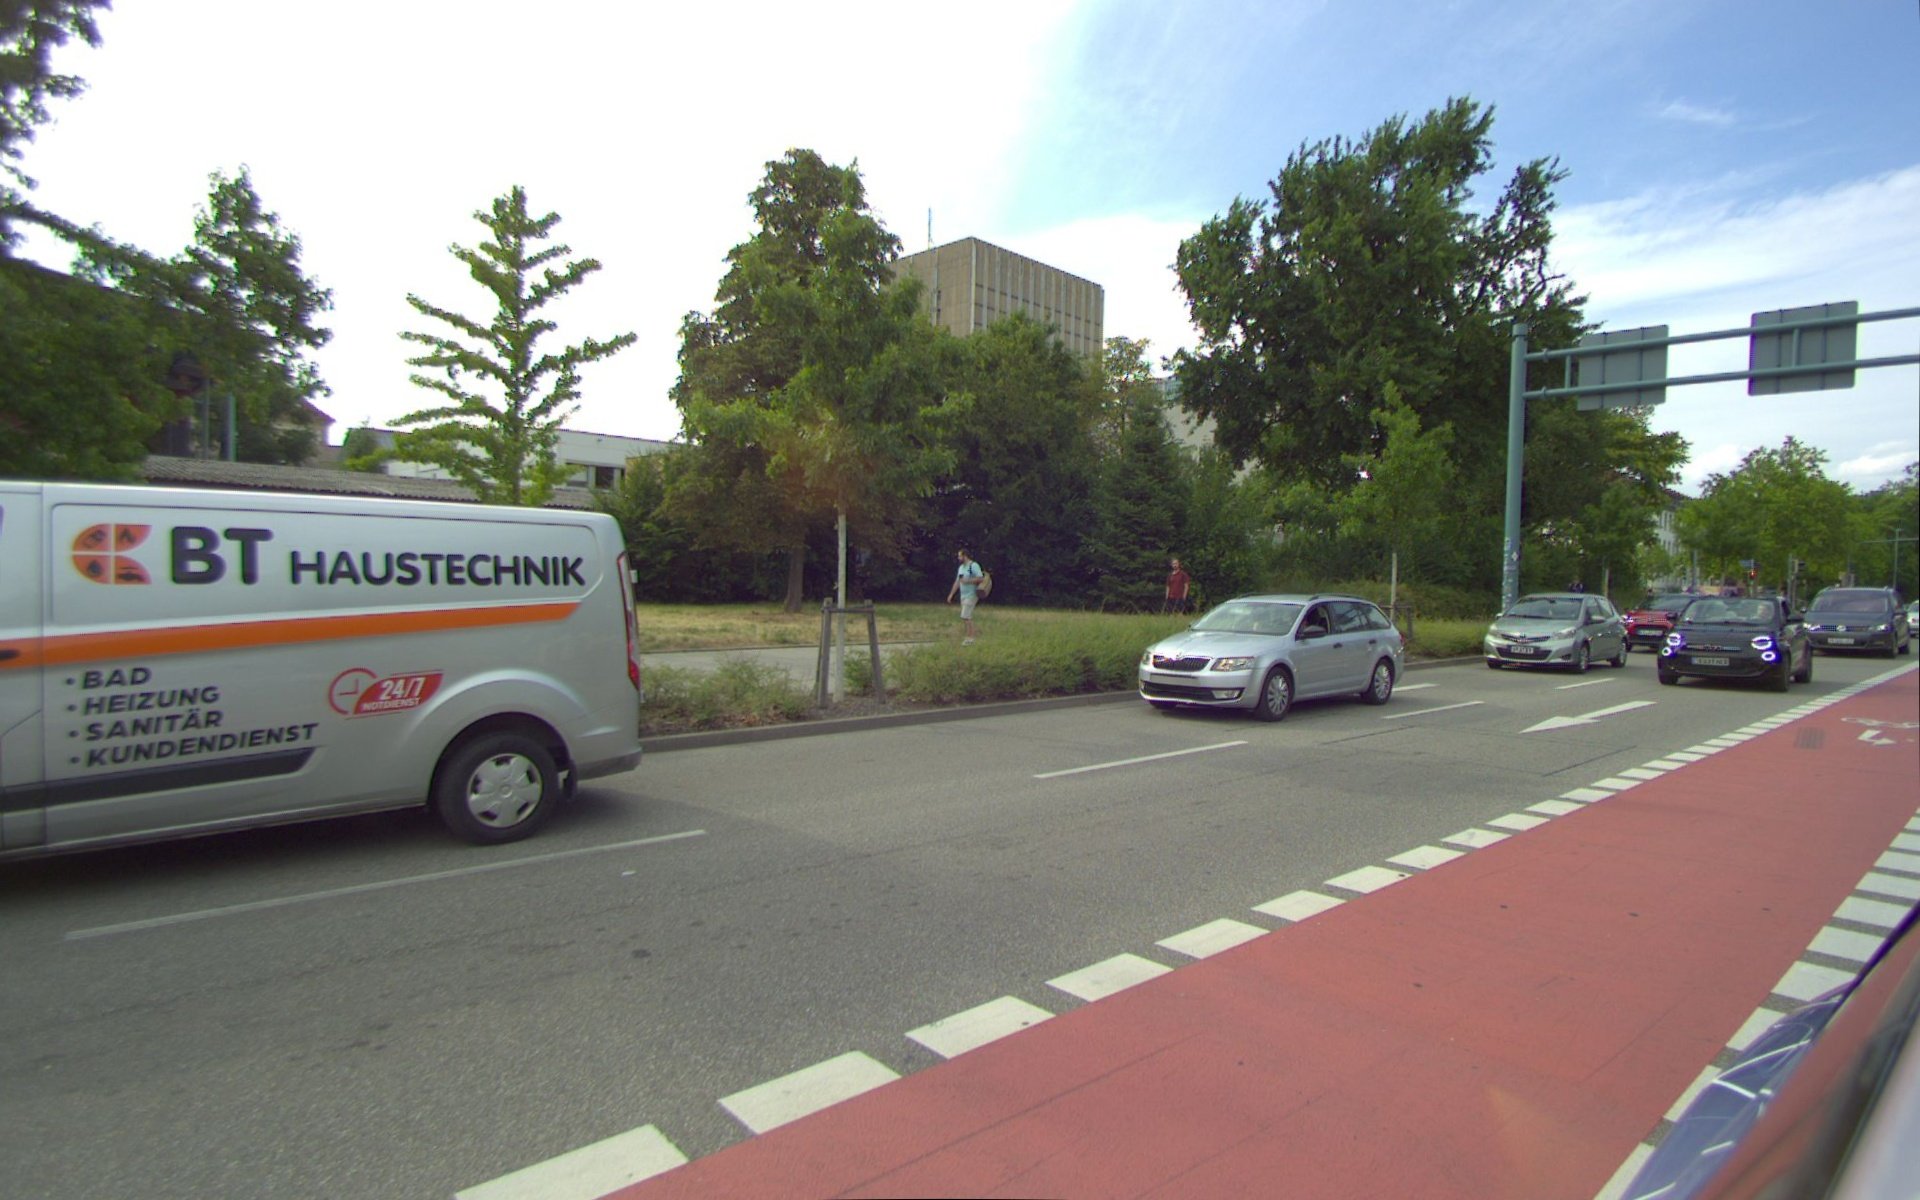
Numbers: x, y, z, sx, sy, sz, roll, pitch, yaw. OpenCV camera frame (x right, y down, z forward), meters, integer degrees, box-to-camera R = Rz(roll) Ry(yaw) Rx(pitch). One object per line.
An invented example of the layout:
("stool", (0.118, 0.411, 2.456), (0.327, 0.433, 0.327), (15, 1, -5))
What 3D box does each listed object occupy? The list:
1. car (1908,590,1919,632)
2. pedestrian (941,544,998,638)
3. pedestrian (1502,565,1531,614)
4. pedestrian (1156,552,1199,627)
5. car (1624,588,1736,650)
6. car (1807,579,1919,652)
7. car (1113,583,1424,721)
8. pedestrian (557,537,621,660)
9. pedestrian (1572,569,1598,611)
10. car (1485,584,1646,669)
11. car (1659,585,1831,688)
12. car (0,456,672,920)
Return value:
("car", (36.198, 0.394, 37.065), (4.151, 1.476, 1.757), (-1, 1, -42))
("pedestrian", (0.171, -0.166, 19.090), (0.683, 1.732, 0.840), (0, 0, -44))
("pedestrian", (19.917, -0.385, 36.234), (0.683, 1.732, 0.713), (0, 0, -41))
("pedestrian", (5.085, -0.245, 23.643), (0.683, 1.732, 0.713), (0, 0, -41))
("car", (18.187, 0.434, 25.528), (3.399, 1.433, 1.668), (-1, 1, -43))
("car", (22.754, 0.318, 25.311), (4.605, 1.671, 1.757), (-1, 1, -42))
("car", (4.124, 0.536, 13.128), (4.450, 1.493, 1.822), (-1, 1, -42))
("pedestrian", (-5.360, -0.038, 14.616), (0.684, 1.716, 0.543), (0, 3, -45))
("pedestrian", (25.755, -0.421, 41.696), (0.683, 1.732, 0.713), (0, 0, -41))
("car", (11.994, 0.450, 19.956), (3.809, 1.508, 1.668), (-1, 1, -41))
("car", (13.064, 0.521, 16.789), (3.382, 1.508, 1.669), (-1, 1, -41))
("car", (-4.323, 0.367, 5.358), (5.115, 1.984, 1.822), (-1, 0, -42))
